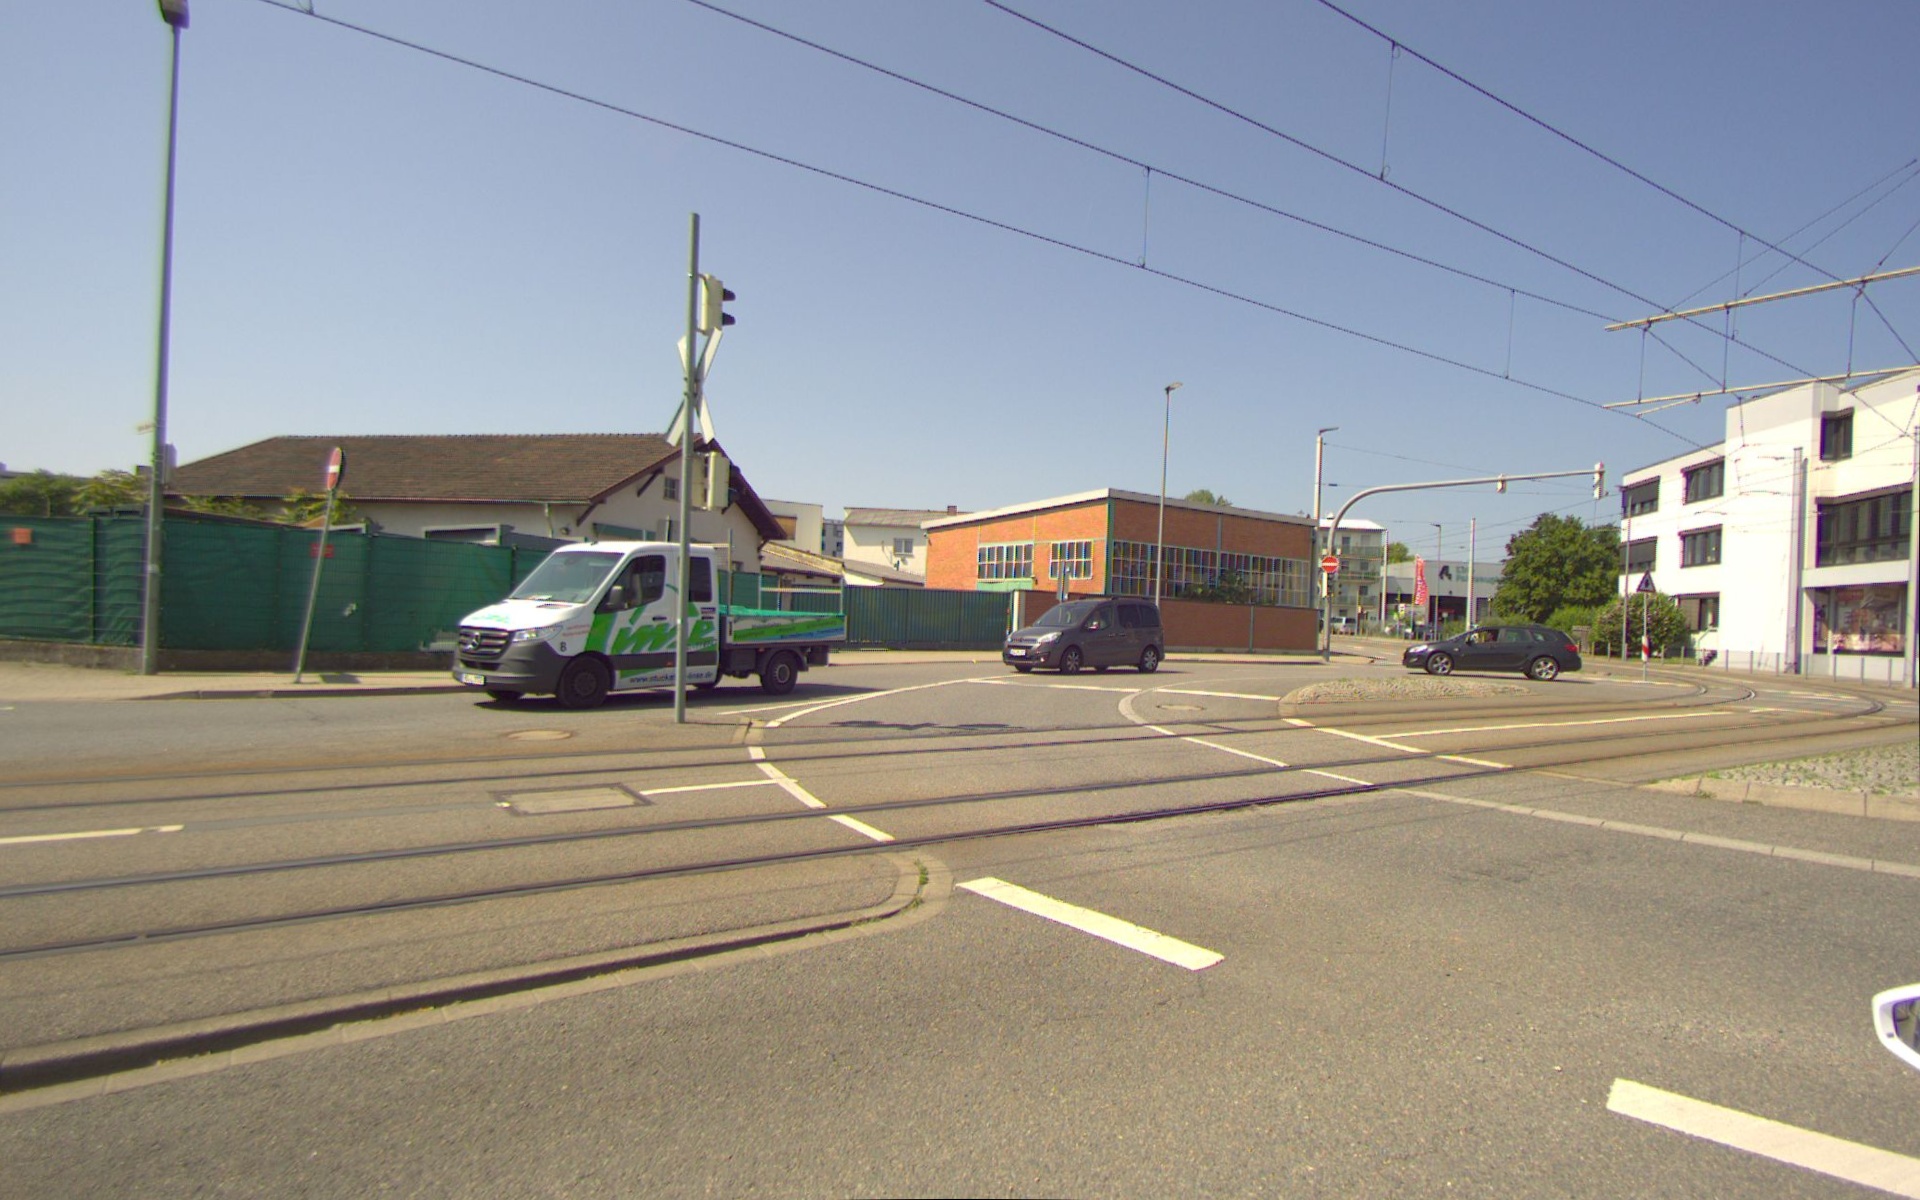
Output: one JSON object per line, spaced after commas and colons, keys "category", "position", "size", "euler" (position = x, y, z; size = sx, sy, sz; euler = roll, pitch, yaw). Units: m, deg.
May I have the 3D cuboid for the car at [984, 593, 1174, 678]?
{"category": "car", "position": [2.889, 0.833, 23.997], "size": [4.370, 1.842, 1.968], "euler": [2, 0, -38]}

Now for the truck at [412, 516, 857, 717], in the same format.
{"category": "truck", "position": [-4.455, 0.248, 15.144], "size": [2.172, 2.368, 6.371], "euler": [2, 0, 34]}

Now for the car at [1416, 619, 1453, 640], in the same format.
{"category": "car", "position": [43.762, 2.720, 92.700], "size": [1.959, 1.806, 4.003], "euler": [2, 0, 9]}

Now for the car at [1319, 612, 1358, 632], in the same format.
{"category": "car", "position": [41.711, 2.459, 110.717], "size": [1.968, 2.040, 3.986], "euler": [2, -2, -17]}

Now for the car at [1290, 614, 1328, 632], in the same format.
{"category": "car", "position": [38.511, 2.585, 111.003], "size": [1.968, 1.884, 3.986], "euler": [2, -2, -17]}

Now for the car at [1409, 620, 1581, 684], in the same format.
{"category": "car", "position": [15.340, 1.459, 29.058], "size": [4.160, 1.576, 1.969], "euler": [2, -1, 23]}
